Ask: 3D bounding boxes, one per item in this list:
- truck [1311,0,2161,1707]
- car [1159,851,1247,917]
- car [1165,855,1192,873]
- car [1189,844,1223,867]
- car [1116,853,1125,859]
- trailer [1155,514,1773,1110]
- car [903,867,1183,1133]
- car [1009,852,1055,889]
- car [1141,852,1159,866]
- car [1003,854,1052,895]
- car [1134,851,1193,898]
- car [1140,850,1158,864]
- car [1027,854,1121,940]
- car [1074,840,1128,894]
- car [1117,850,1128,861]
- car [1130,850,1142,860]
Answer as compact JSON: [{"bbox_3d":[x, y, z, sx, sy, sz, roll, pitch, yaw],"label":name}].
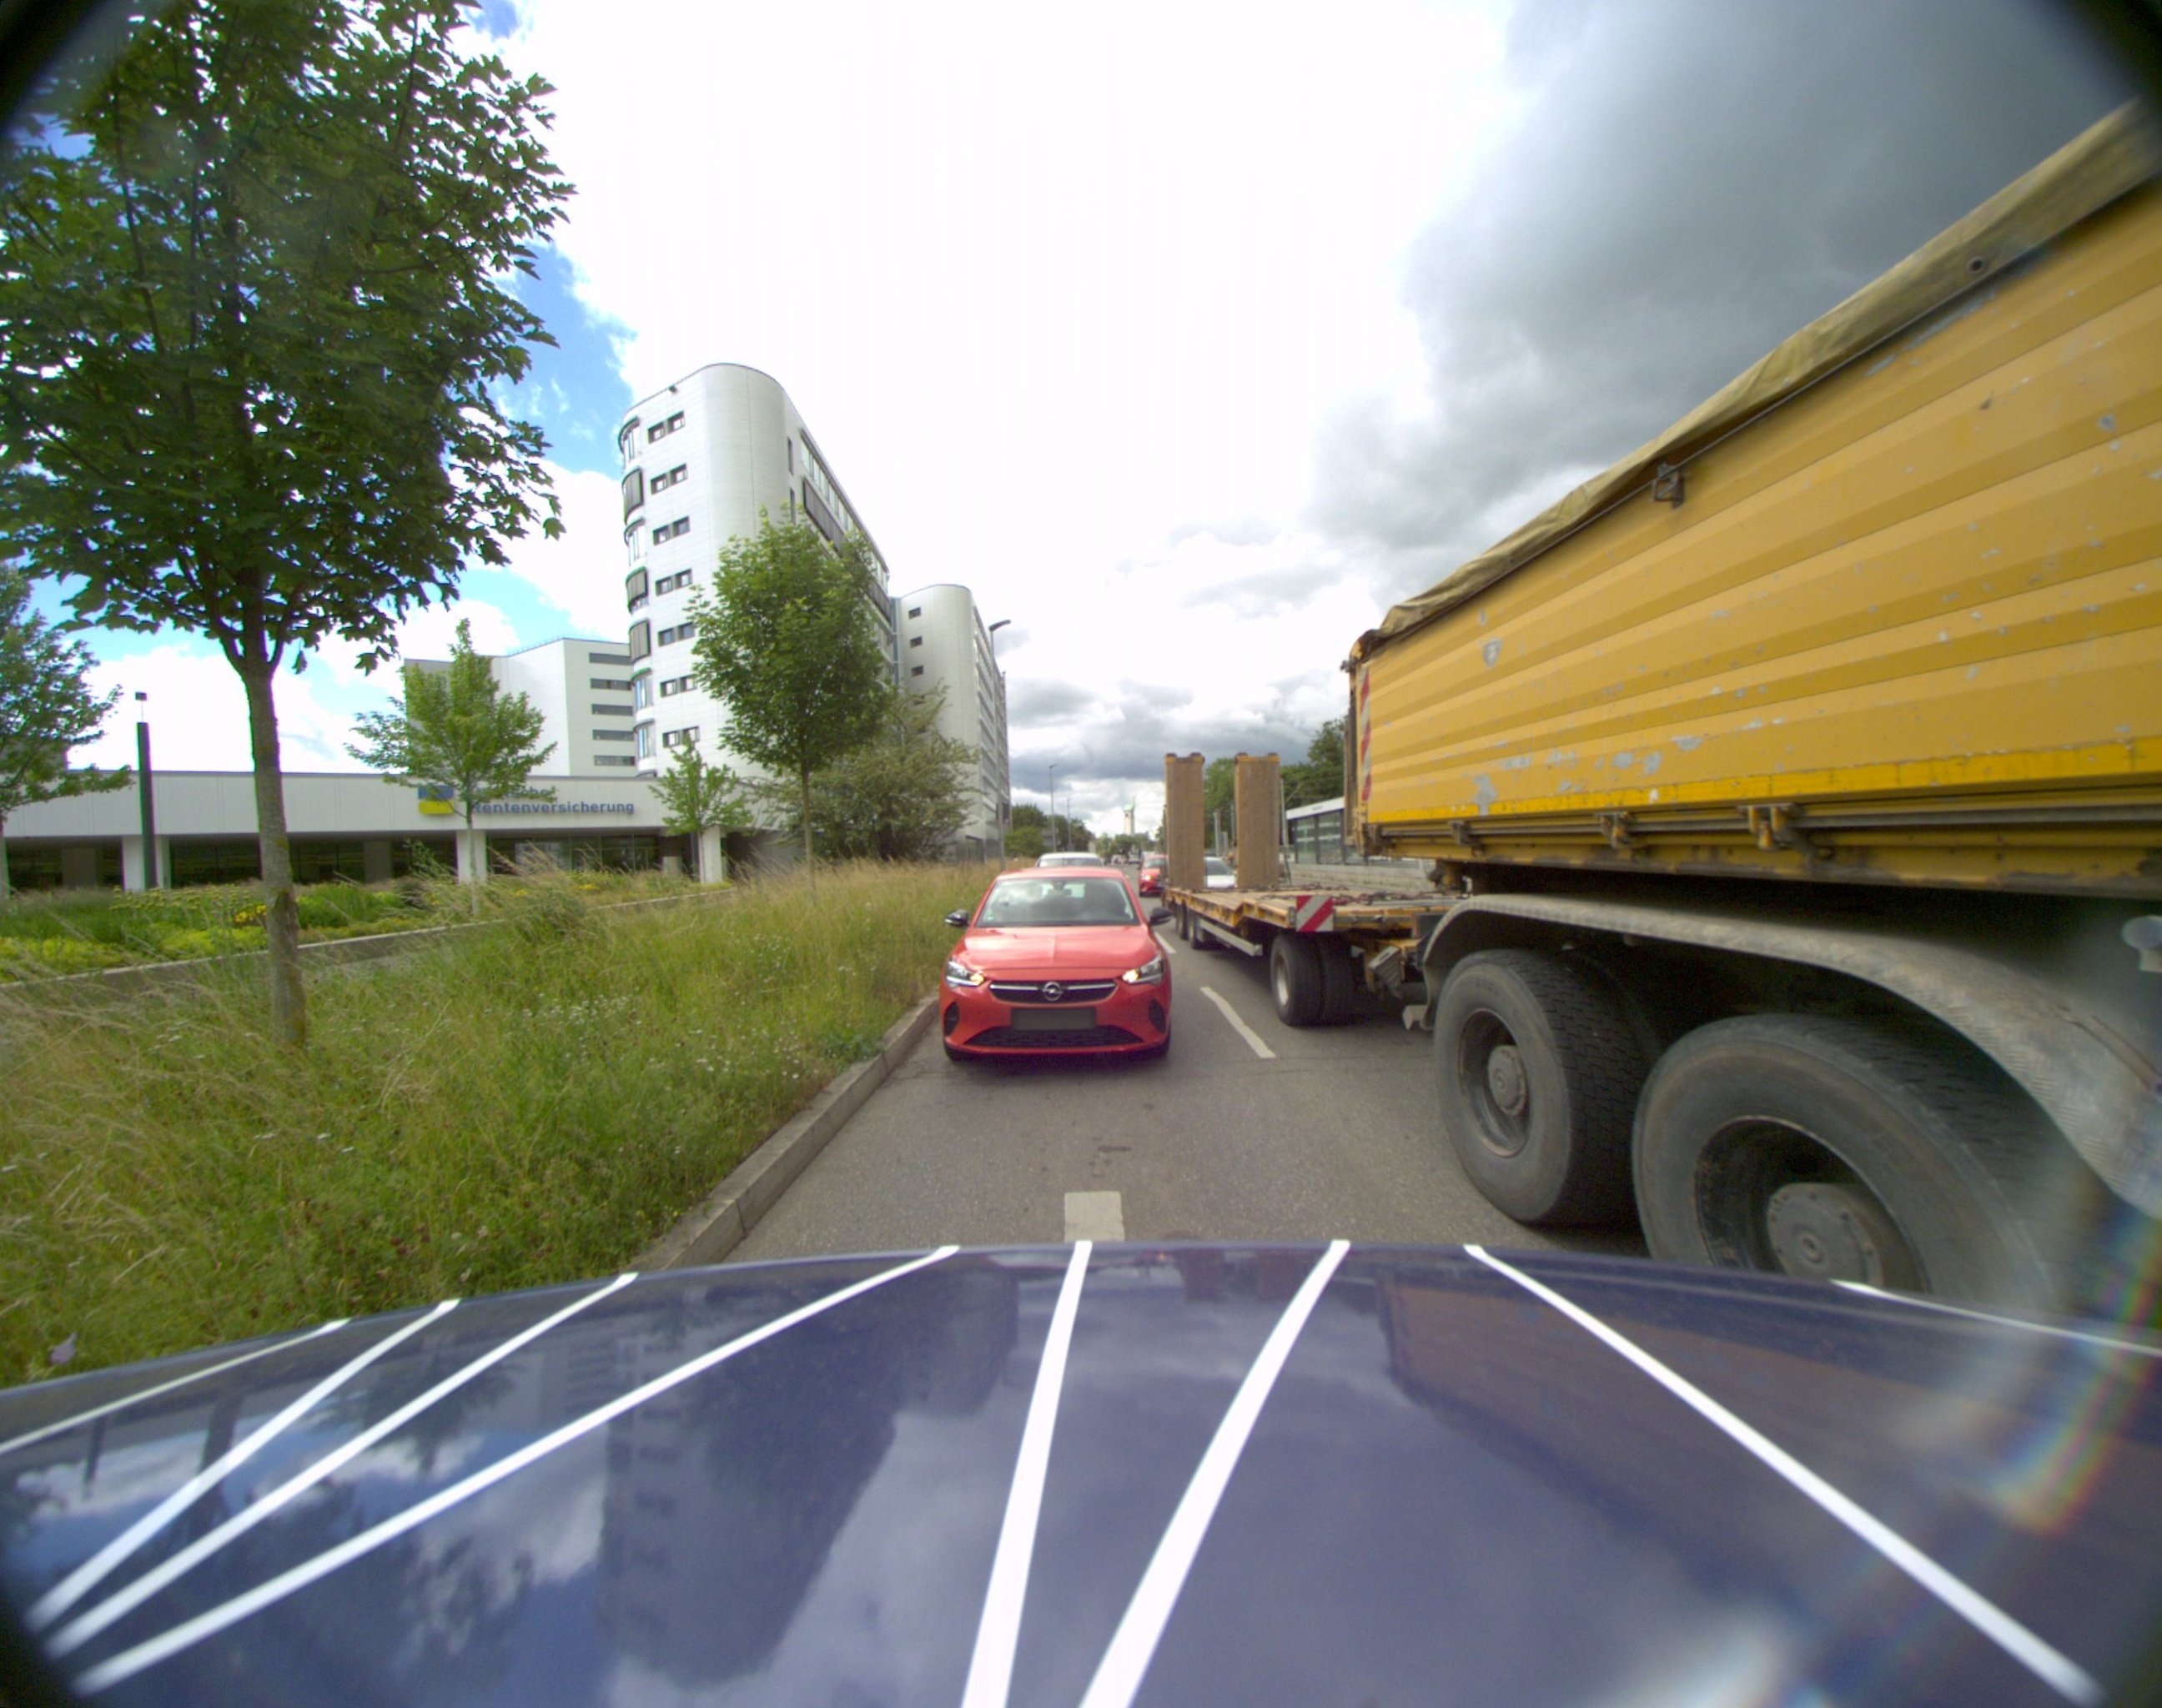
[{"bbox_3d":[2.761,0.080,0.740,2.727,2.986,7.777,-2,1,1],"label":"truck"},{"bbox_3d":[3.147,0.718,20.310,1.692,1.471,3.999,-2,1,1],"label":"car"},{"bbox_3d":[8.662,0.853,67.903,1.766,1.432,4.278,-2,0,0],"label":"car"},{"bbox_3d":[8.842,0.096,54.032,1.781,1.461,4.044,-2,0,1],"label":"car"},{"bbox_3d":[9.127,0.449,175.729,1.770,1.489,3.554,-2,0,1],"label":"car"},{"bbox_3d":[2.862,-0.265,10.066,2.713,3.501,10.914,-2,0,1],"label":"trailer"},{"bbox_3d":[-0.205,0.956,6.752,1.692,1.471,3.999,-2,1,1],"label":"car"},{"bbox_3d":[-2.275,0.739,36.384,1.850,1.565,4.623,-2,0,0],"label":"car"},{"bbox_3d":[7.841,0.525,86.288,1.705,1.449,3.566,-2,0,1],"label":"car"},{"bbox_3d":[-2.172,0.814,31.616,1.738,1.565,3.445,-2,0,0],"label":"car"},{"bbox_3d":[2.890,0.676,27.307,1.692,1.471,3.999,-2,1,1],"label":"car"},{"bbox_3d":[8.857,0.388,98.930,1.887,1.761,4.863,-2,0,1],"label":"car"},{"bbox_3d":[-0.134,0.825,16.148,1.738,1.565,3.445,-2,0,0],"label":"car"},{"bbox_3d":[0.797,0.487,31.007,1.998,2.002,4.000,-2,0,1],"label":"car"},{"bbox_3d":[7.997,0.287,147.423,1.998,2.002,4.000,-2,0,1],"label":"car"},{"bbox_3d":[8.876,0.169,122.627,1.644,1.489,3.554,-2,0,1],"label":"car"}]
